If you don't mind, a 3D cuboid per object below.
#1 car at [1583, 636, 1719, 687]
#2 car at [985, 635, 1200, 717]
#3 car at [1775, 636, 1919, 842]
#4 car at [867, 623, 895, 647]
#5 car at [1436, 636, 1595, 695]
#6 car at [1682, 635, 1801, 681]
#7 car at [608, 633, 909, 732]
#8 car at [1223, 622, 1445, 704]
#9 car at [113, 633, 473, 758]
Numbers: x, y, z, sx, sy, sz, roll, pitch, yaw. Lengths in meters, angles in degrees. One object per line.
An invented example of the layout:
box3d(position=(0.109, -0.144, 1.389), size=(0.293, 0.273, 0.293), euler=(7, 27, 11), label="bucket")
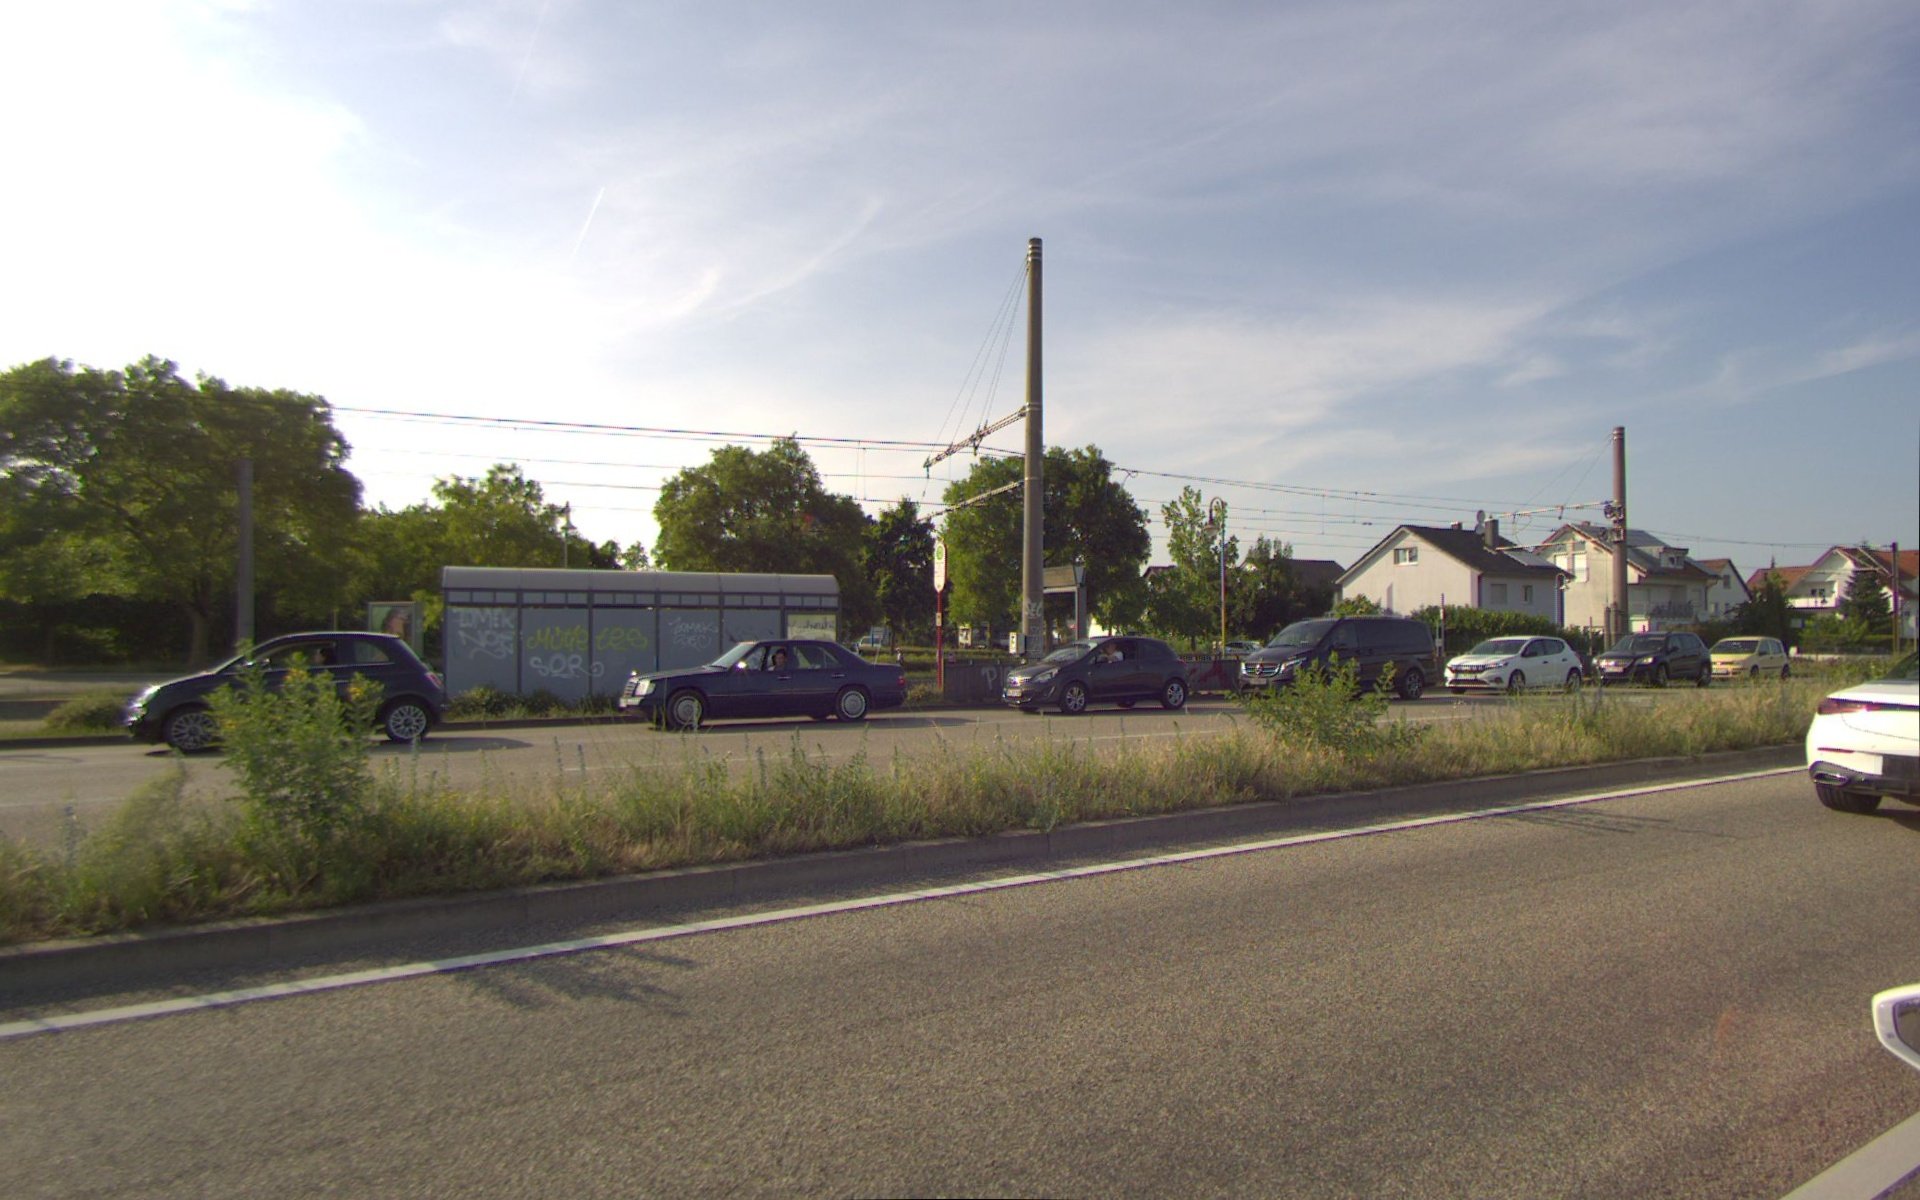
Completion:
box3d(position=(20.727, 1.815, 30.100), size=(4.275, 1.450, 1.653), euler=(1, -3, -30), label="car")
box3d(position=(2.618, 1.437, 19.660), size=(4.009, 1.450, 1.653), euler=(1, -3, -30), label="car")
box3d(position=(8.636, 1.001, 7.936), size=(4.891, 1.355, 1.763), euler=(1, 0, -30), label="car")
box3d(position=(-6.431, 2.808, 82.003), size=(1.537, 1.819, 3.116), euler=(1, 0, 10), label="car")
box3d(position=(14.719, 1.696, 26.555), size=(4.396, 1.450, 1.653), euler=(1, -3, -30), label="car")
box3d(position=(26.290, 1.933, 33.750), size=(4.275, 1.450, 1.653), euler=(1, -3, -30), label="car")
box3d(position=(-3.283, 1.306, 16.726), size=(4.662, 1.450, 1.653), euler=(1, -3, -30), label="car")
box3d(position=(8.620, 1.407, 23.038), size=(5.192, 1.705, 1.906), euler=(1, -3, -30), label="car")
box3d(position=(-8.625, 1.185, 13.370), size=(3.760, 1.450, 1.653), euler=(1, -3, -30), label="car")
